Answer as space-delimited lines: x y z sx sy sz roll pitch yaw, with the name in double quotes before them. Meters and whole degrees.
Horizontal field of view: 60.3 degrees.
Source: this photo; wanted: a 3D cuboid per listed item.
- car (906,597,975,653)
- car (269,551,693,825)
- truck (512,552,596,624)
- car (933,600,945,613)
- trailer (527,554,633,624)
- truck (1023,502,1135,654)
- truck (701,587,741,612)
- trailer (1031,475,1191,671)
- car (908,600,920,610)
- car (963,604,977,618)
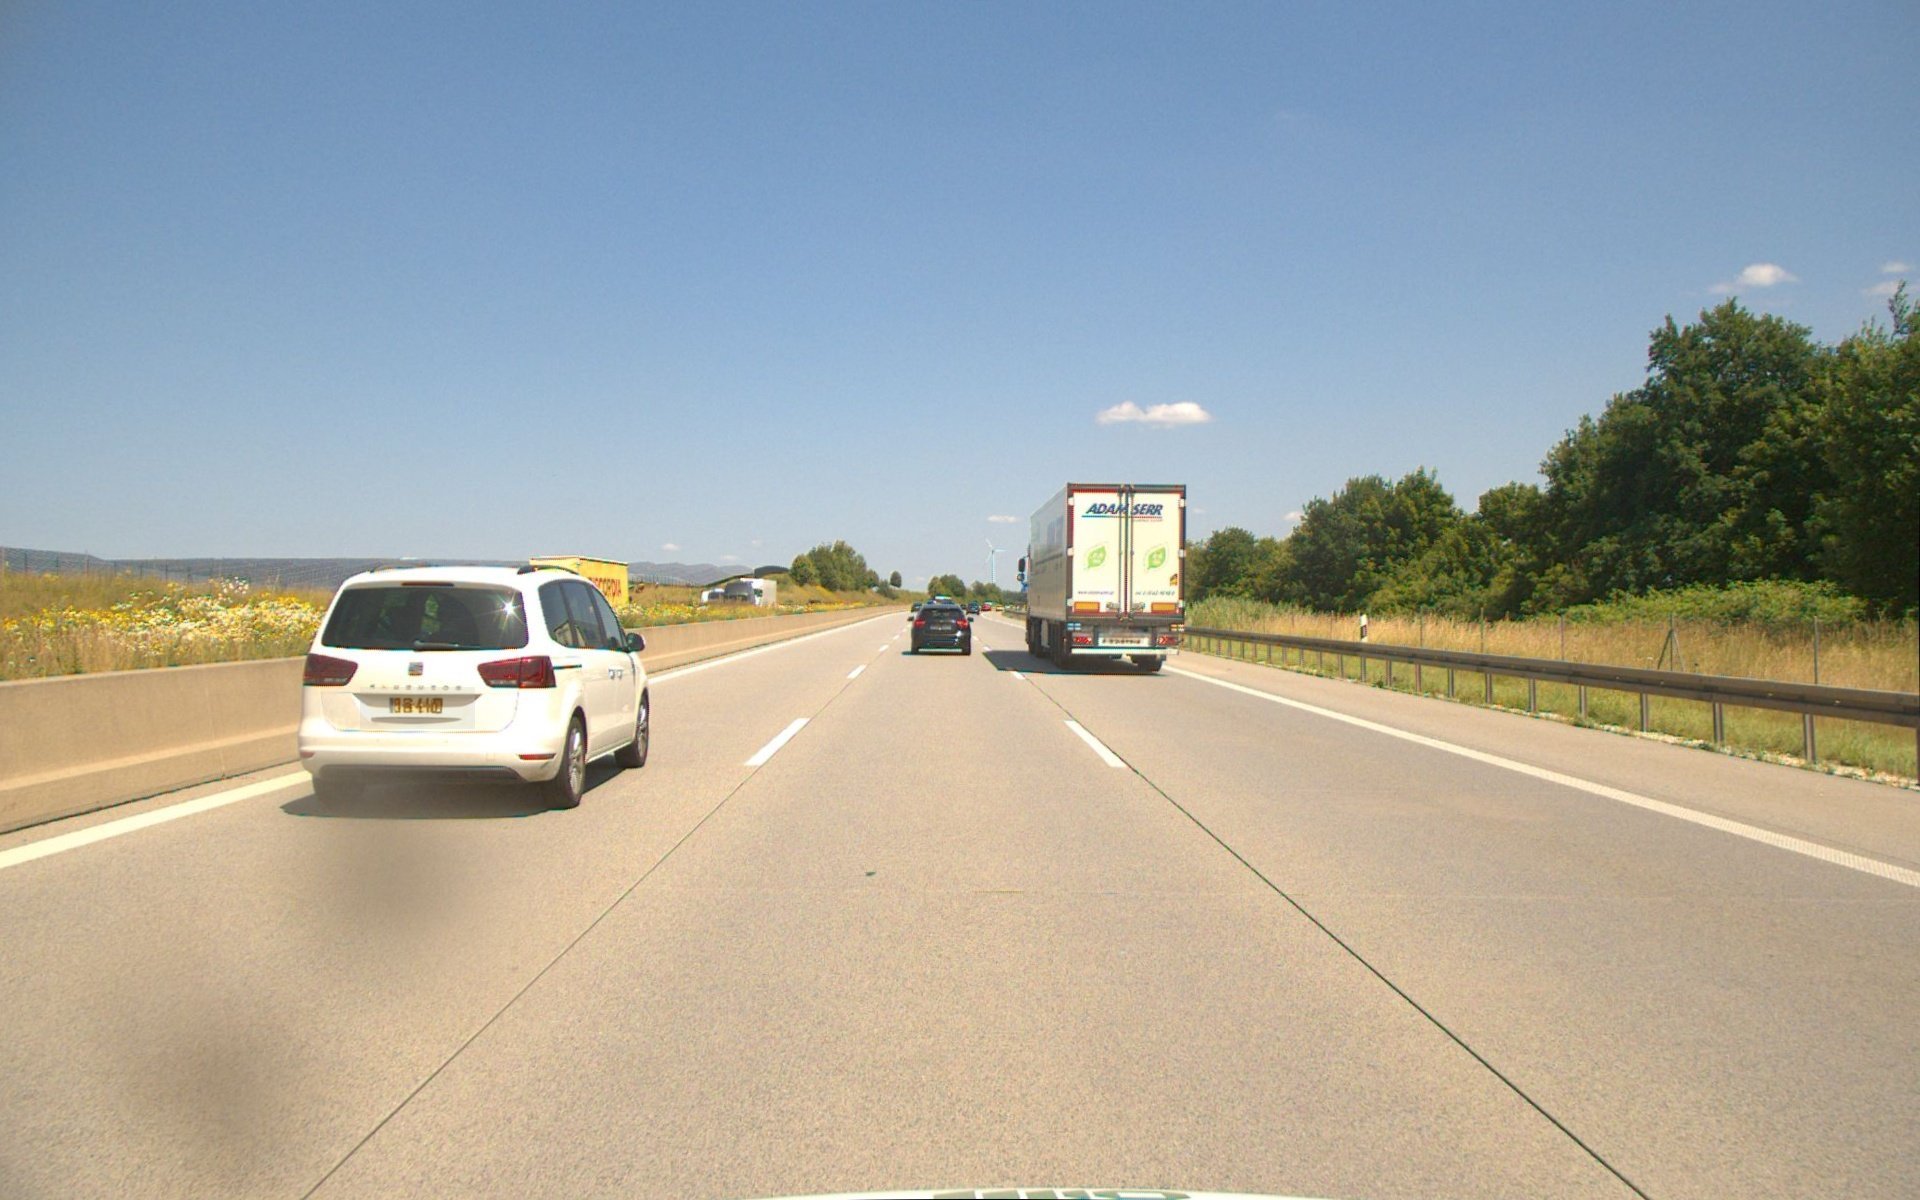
"car" -0.615 0.704 48.686 1.872 1.518 4.190 2 0 -2
"car" -3.594 0.601 13.756 1.808 1.738 6.034 1 -1 -1
"truck" -21.385 -0.581 87.489 2.863 3.602 6.346 1 -1 -1
"car" -3.142 1.033 249.846 1.790 1.971 3.808 1 -1 -1
"trailer" -21.397 -0.507 94.063 2.872 3.613 14.017 1 -1 -1
"truck" 3.433 -0.600 48.882 2.755 4.159 5.797 1 0 -1
"truck" -20.958 0.019 145.149 2.466 2.049 7.628 1 -1 -1
"trailer" 3.485 -0.555 41.528 2.794 4.113 12.712 1 0 0
"car" -6.503 0.729 233.713 1.622 1.217 3.959 3 0 -1
"car" 1.349 1.466 221.228 1.790 1.940 3.999 1 0 -1
